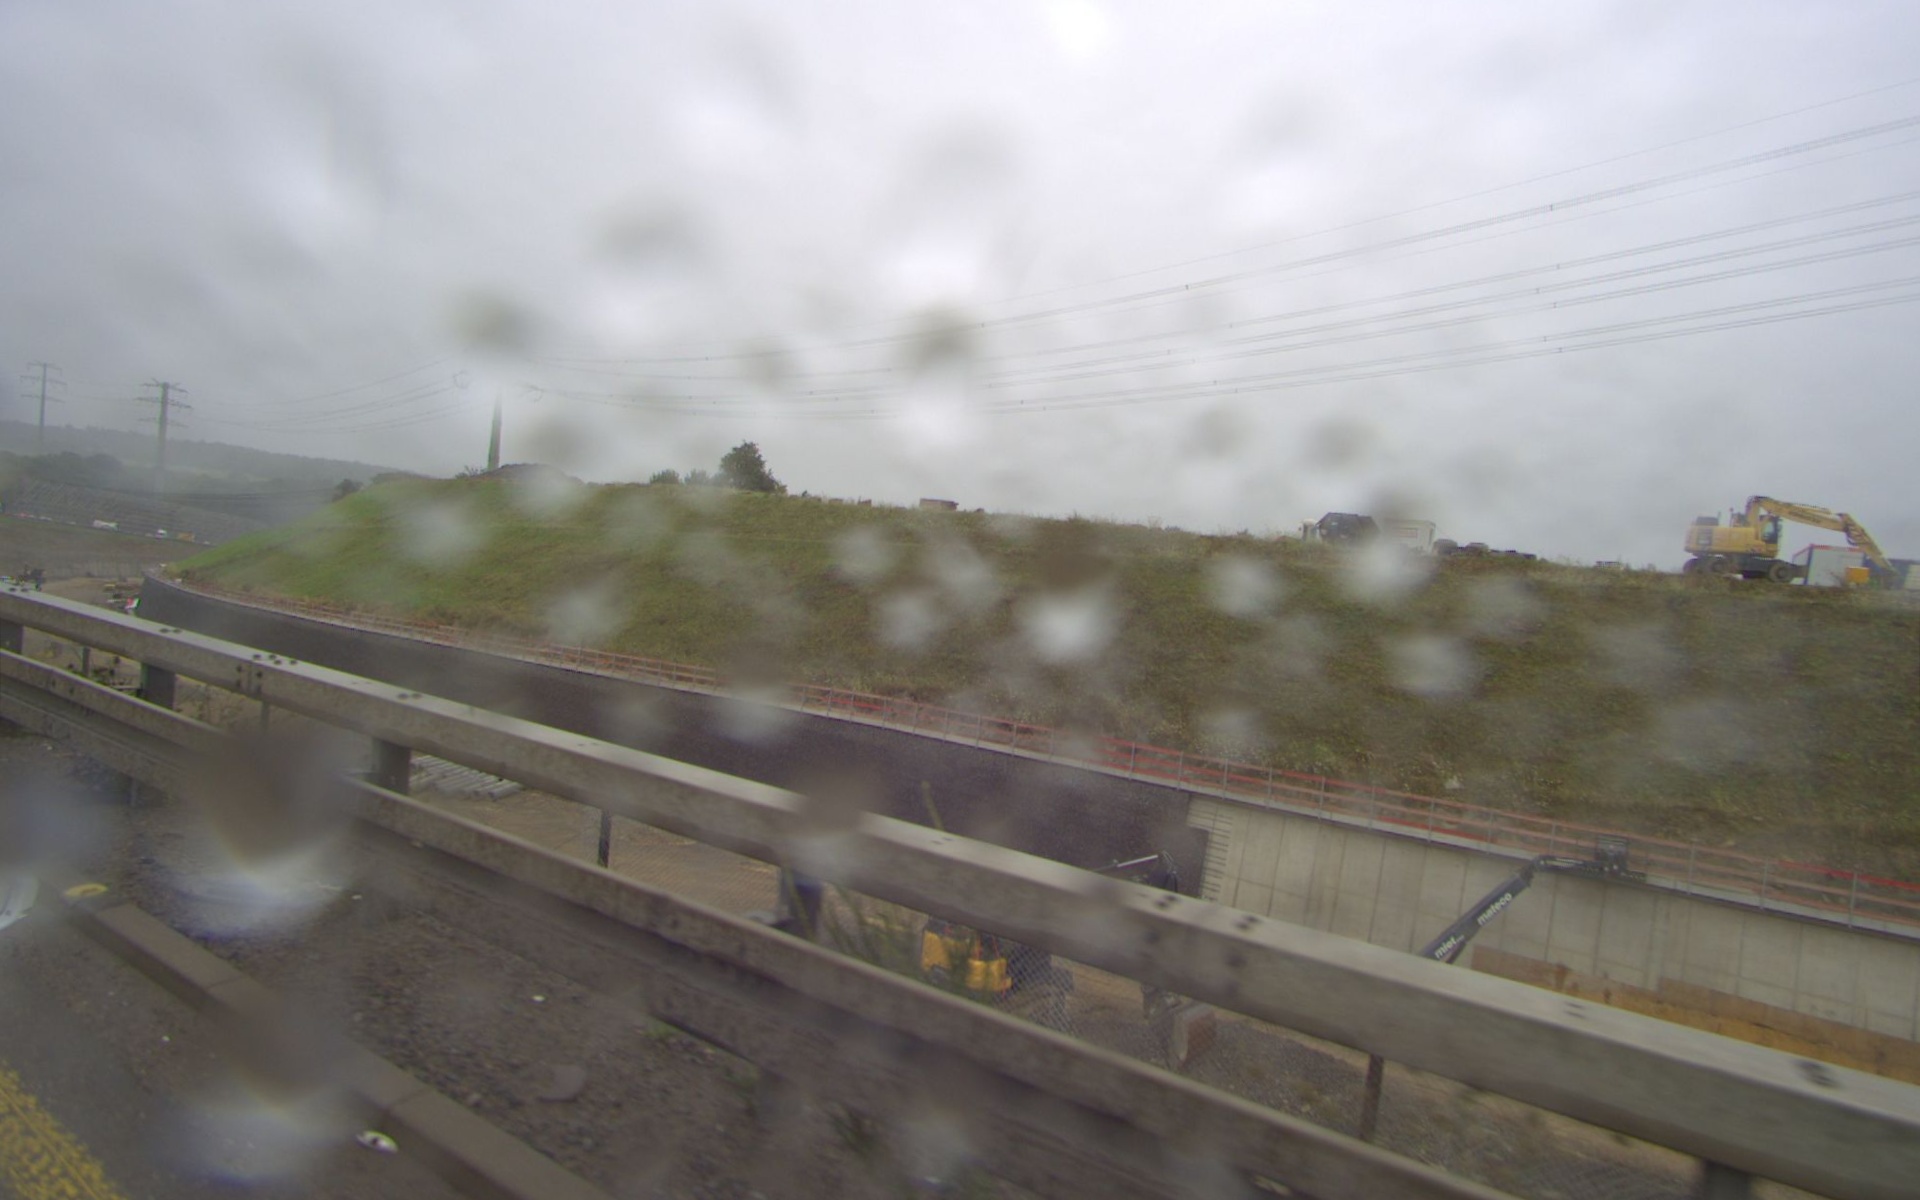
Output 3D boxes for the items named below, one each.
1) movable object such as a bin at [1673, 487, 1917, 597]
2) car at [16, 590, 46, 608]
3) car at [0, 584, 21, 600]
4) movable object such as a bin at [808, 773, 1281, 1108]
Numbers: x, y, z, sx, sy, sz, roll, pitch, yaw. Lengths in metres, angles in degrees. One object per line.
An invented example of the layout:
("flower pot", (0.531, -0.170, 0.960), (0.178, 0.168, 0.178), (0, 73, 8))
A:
("movable object such as a bin", (38.421, -2.737, 46.830), (8.047, 4.259, 3.100), (7, 1, 34))
("car", (-130.001, -0.155, 140.743), (3.942, 2.037, 2.365), (6, -2, 39))
("car", (-142.689, -1.225, 151.122), (3.945, 1.837, 1.991), (6, -2, 41))
("movable object such as a bin", (2.111, 8.646, 28.217), (11.899, 5.731, 4.903), (3, -4, 33))
